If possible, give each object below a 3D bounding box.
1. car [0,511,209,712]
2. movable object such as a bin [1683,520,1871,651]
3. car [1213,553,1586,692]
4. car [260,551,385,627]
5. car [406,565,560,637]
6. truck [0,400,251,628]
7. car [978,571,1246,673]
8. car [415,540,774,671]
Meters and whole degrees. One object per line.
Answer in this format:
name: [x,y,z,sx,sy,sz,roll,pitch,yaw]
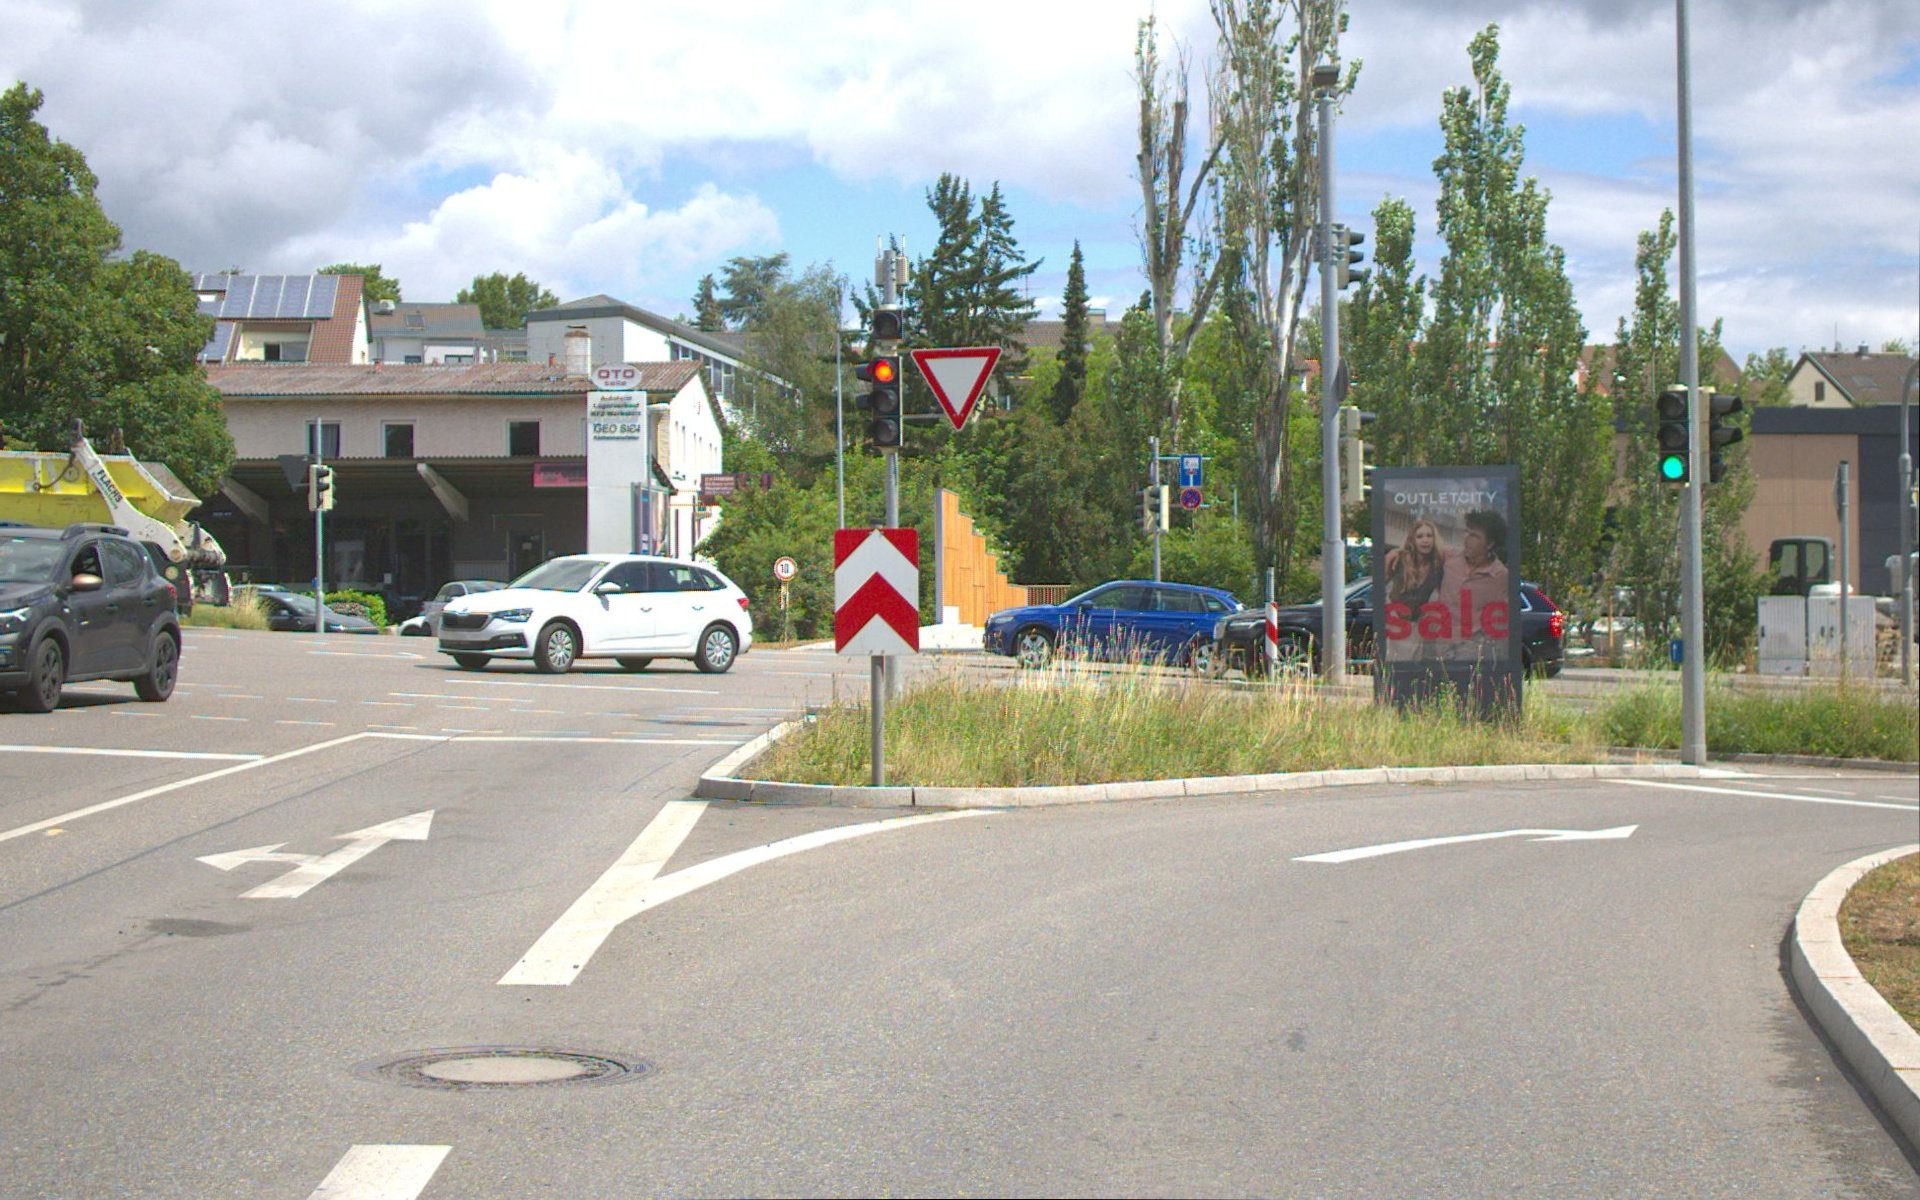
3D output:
car: [-8.115,0.037,29.567,1.785,1.572,4.163,2,1,9]
movable object such as a bin: [16.793,-0.291,70.621,3.407,2.529,2.150,2,0,22]
car: [6.161,0.295,48.658,4.966,1.684,1.911,3,1,0]
car: [-15.101,-0.267,81.266,1.735,1.646,3.855,1,1,-29]
car: [-10.114,0.004,72.732,1.691,1.395,4.000,2,0,-32]
truck: [-15.712,-1.337,57.484,6.945,3.567,2.847,-2,0,3]
car: [2.325,0.325,52.697,3.987,1.395,1.697,2,0,3]
car: [-4.495,0.084,42.738,1.621,1.464,4.367,4,2,44]
